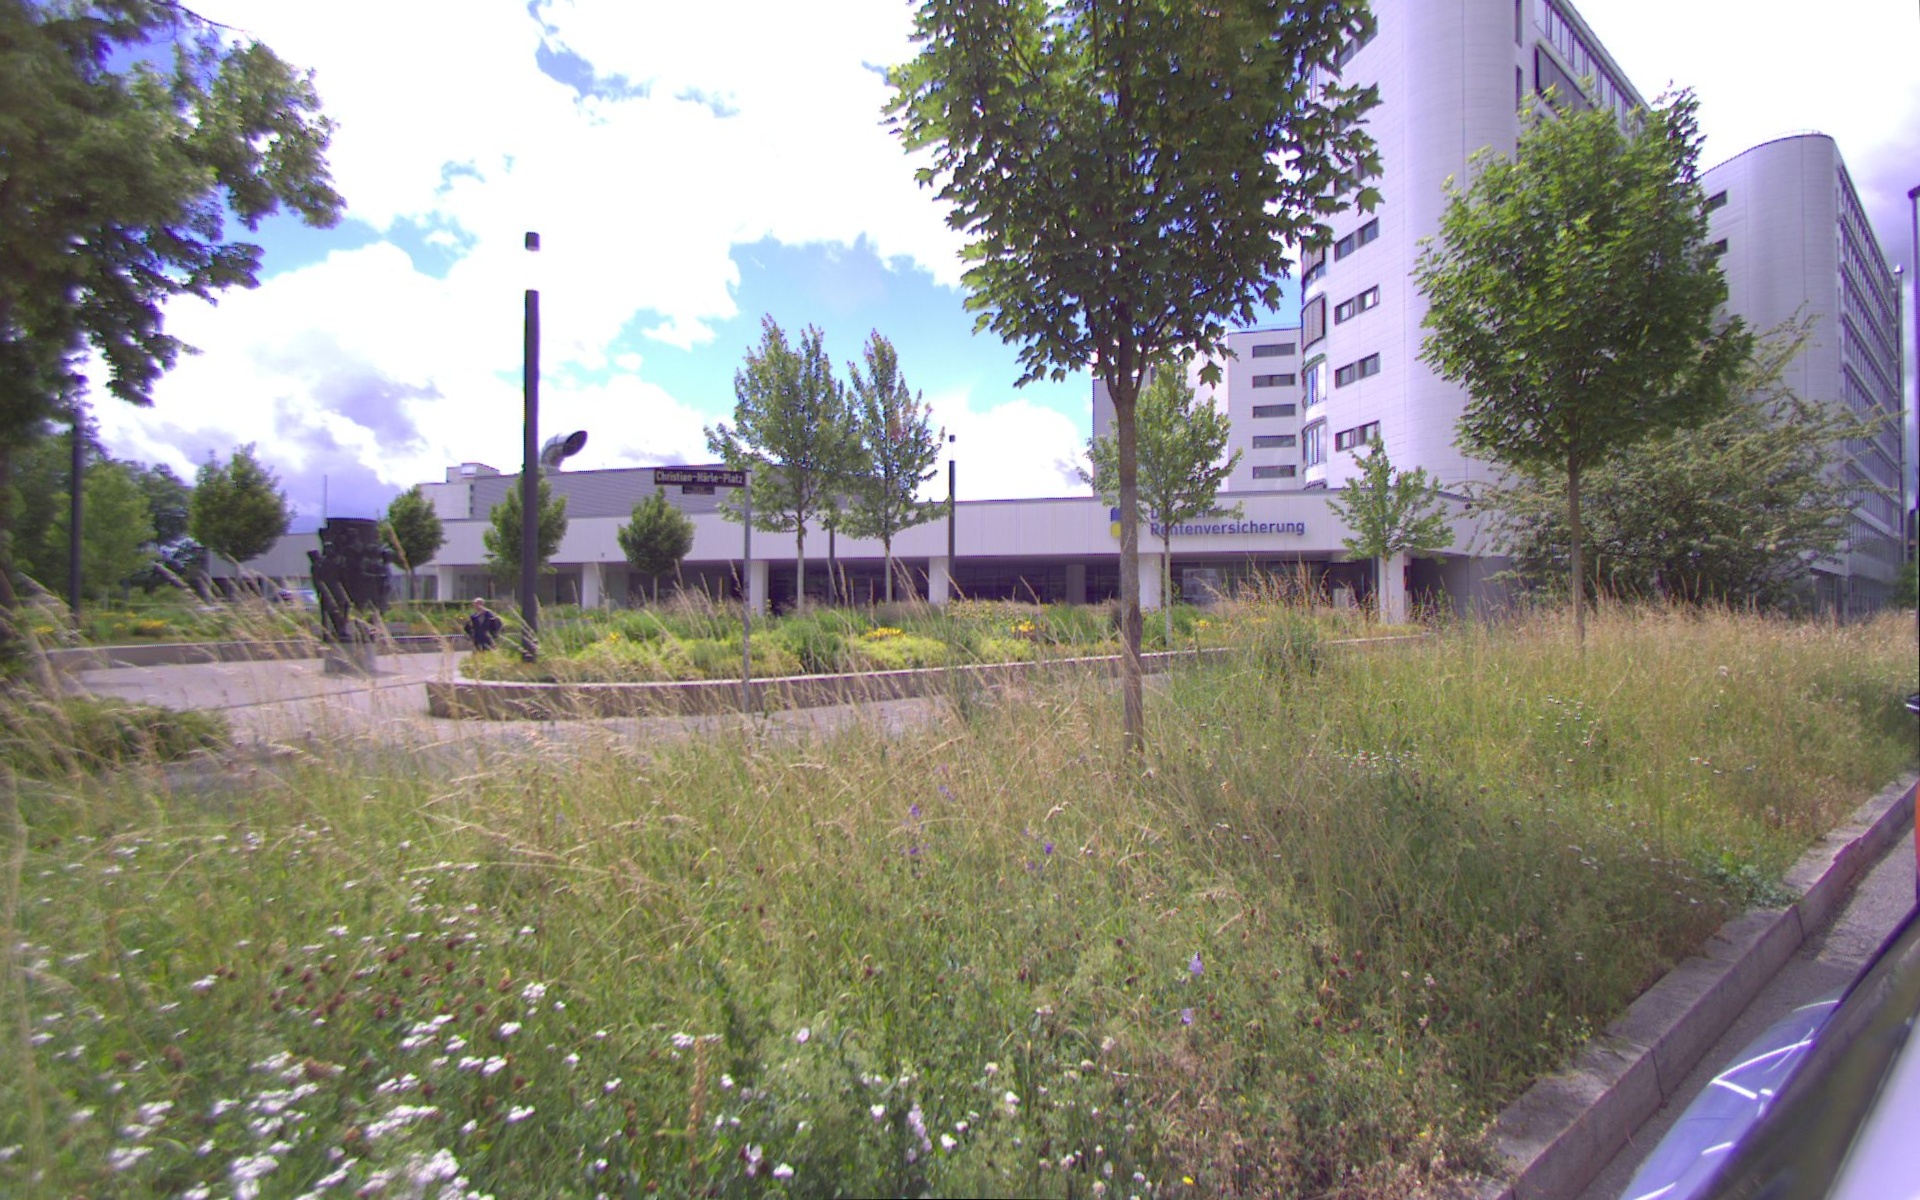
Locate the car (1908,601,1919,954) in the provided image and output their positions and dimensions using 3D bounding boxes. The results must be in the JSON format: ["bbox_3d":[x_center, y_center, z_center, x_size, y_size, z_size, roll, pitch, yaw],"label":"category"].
[{"bbox_3d":[5.809,0.751,4.635,3.611,1.434,1.748,0,1,-41],"label":"car"}]

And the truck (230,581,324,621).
[{"bbox_3d":[-36.139,0.058,53.574,3.941,2.039,1.991,1,0,14],"label":"truck"}]

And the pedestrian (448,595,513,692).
[{"bbox_3d":[-8.433,0.745,17.807,0.767,1.646,0.755,0,-1,35],"label":"pedestrian"}]

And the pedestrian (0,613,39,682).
[{"bbox_3d":[-17.447,0.859,18.657,0.621,1.238,0.620,1,0,-36],"label":"pedestrian"}]
